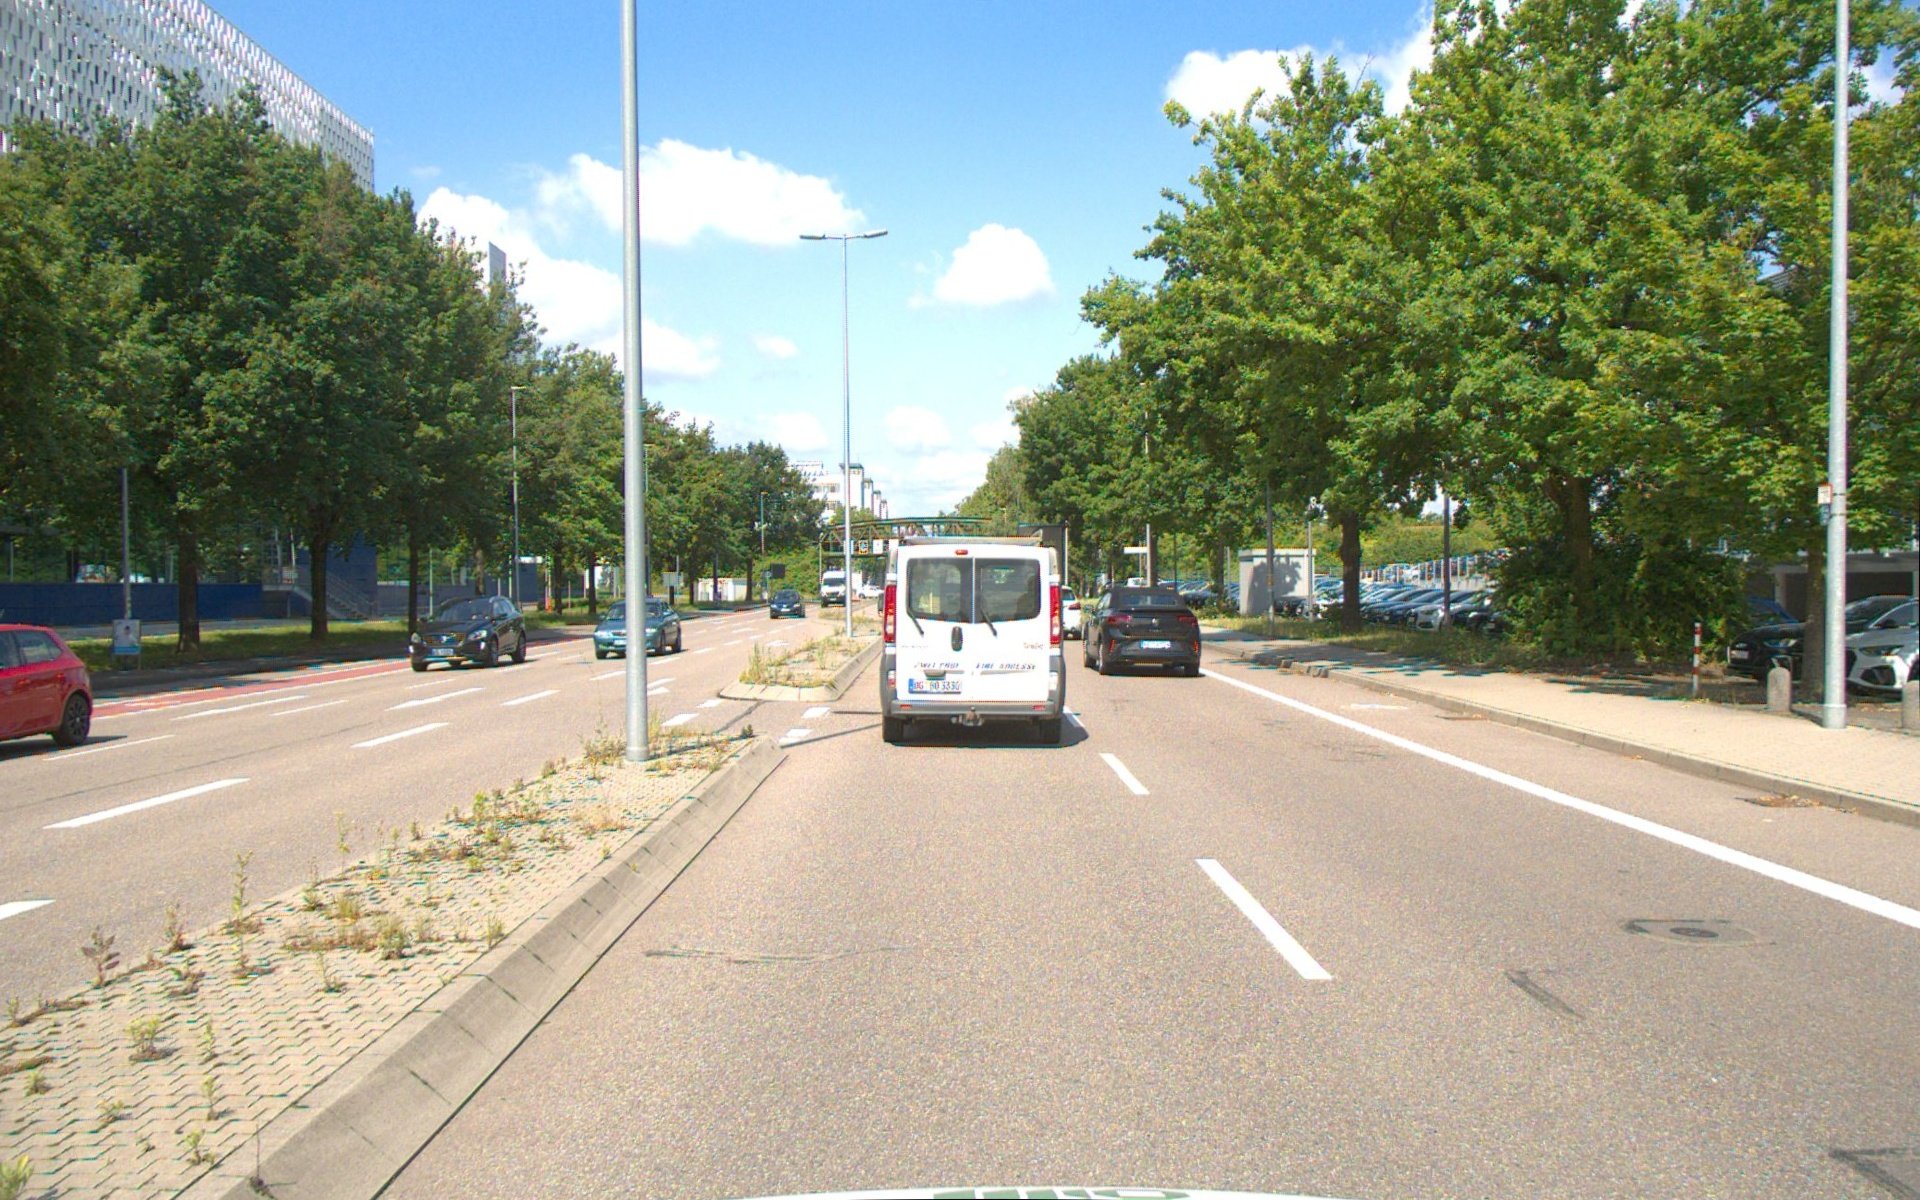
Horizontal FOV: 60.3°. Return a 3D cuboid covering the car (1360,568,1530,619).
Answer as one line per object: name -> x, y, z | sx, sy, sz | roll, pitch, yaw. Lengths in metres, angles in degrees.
car -> 14.413, -0.202, 49.279 | 4.482, 1.429, 1.907 | 0, 2, -1

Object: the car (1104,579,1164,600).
car -> 13.105, -0.795, 124.816 | 4.267, 1.539, 1.935 | 0, 2, -2

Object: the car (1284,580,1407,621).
car -> 13.902, -0.001, 59.833 | 4.023, 1.428, 1.818 | -1, 0, -1

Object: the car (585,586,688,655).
car -> -8.202, 0.465, 42.333 | 1.737, 1.575, 4.819 | -3, 1, -2

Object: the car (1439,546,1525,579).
car -> 29.736, -2.124, 94.306 | 4.264, 1.805, 1.937 | 1, 2, 2

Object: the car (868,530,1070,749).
car -> 0.136, 0.311, 18.089 | 1.932, 2.095, 4.566 | 0, 2, 1

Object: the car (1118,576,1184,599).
car -> 13.172, -0.870, 114.041 | 4.267, 1.539, 1.935 | 0, 2, -2

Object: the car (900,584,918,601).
car -> -6.027, -0.909, 196.542 | 1.952, 1.802, 4.001 | 0, 2, 0

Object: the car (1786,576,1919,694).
car -> 13.845, 0.547, 22.215 | 4.482, 1.429, 1.907 | 3, 2, -1

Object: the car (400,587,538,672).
car -> -11.581, 0.639, 39.362 | 1.889, 1.786, 4.819 | -3, 1, -2

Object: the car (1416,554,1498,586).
car -> 29.146, -1.764, 97.068 | 4.264, 1.805, 1.937 | 1, 2, 2

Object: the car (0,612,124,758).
car -> -11.143, 0.967, 18.300 | 1.652, 1.508, 4.125 | -3, 1, -1

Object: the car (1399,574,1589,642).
car -> 14.287, 0.206, 44.416 | 4.482, 1.707, 1.907 | 0, 2, -1

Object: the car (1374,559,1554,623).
car -> 14.220, -0.265, 46.819 | 4.482, 1.707, 1.907 | 0, 2, -1

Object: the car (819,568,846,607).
car -> -10.018, -0.975, 129.644 | 1.983, 2.944, 6.376 | -1, 0, -5

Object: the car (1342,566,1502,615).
car -> 14.448, -0.306, 51.891 | 4.482, 1.429, 1.907 | 0, 2, -1

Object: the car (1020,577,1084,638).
car -> 2.676, 0.188, 48.730 | 1.737, 1.657, 4.001 | 0, 2, 1

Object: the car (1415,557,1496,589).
car -> 29.813, -1.625, 99.580 | 4.264, 1.805, 1.937 | 1, 2, 2

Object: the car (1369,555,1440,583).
car -> 29.509, -2.053, 109.879 | 4.264, 1.805, 1.937 | 1, 2, 2

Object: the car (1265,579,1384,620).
car -> 14.297, -0.020, 65.045 | 4.266, 1.539, 1.855 | -1, 0, 0

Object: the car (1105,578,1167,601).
car -> 12.859, -0.761, 120.985 | 4.267, 1.539, 1.935 | 0, 2, -2

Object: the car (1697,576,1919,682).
car -> 13.866, 0.436, 25.097 | 4.482, 1.429, 1.907 | 2, 2, -1

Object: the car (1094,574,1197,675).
car -> 3.317, 0.378, 30.102 | 1.736, 1.657, 4.003 | 0, 2, 5

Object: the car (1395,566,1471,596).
car -> 29.893, -1.187, 104.608 | 4.264, 1.805, 1.937 | 1, 2, 2

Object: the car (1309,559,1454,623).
car -> 14.423, -0.327, 56.781 | 4.482, 2.084, 1.907 | 0, 2, -1

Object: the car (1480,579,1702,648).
car -> 14.734, 0.303, 38.759 | 4.482, 1.525, 1.907 | 0, 0, -1

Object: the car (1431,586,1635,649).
car -> 14.376, 0.421, 41.667 | 4.482, 1.525, 1.907 | 0, 0, -1

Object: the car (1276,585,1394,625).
car -> 14.125, 0.178, 62.416 | 4.023, 1.470, 1.855 | 0, 1, 0

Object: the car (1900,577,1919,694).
car -> 13.839, 0.540, 19.423 | 4.482, 1.407, 1.907 | 2, 2, -1

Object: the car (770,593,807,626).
car -> -9.477, 0.495, 91.434 | 1.703, 1.637, 4.239 | -4, 1, -3
